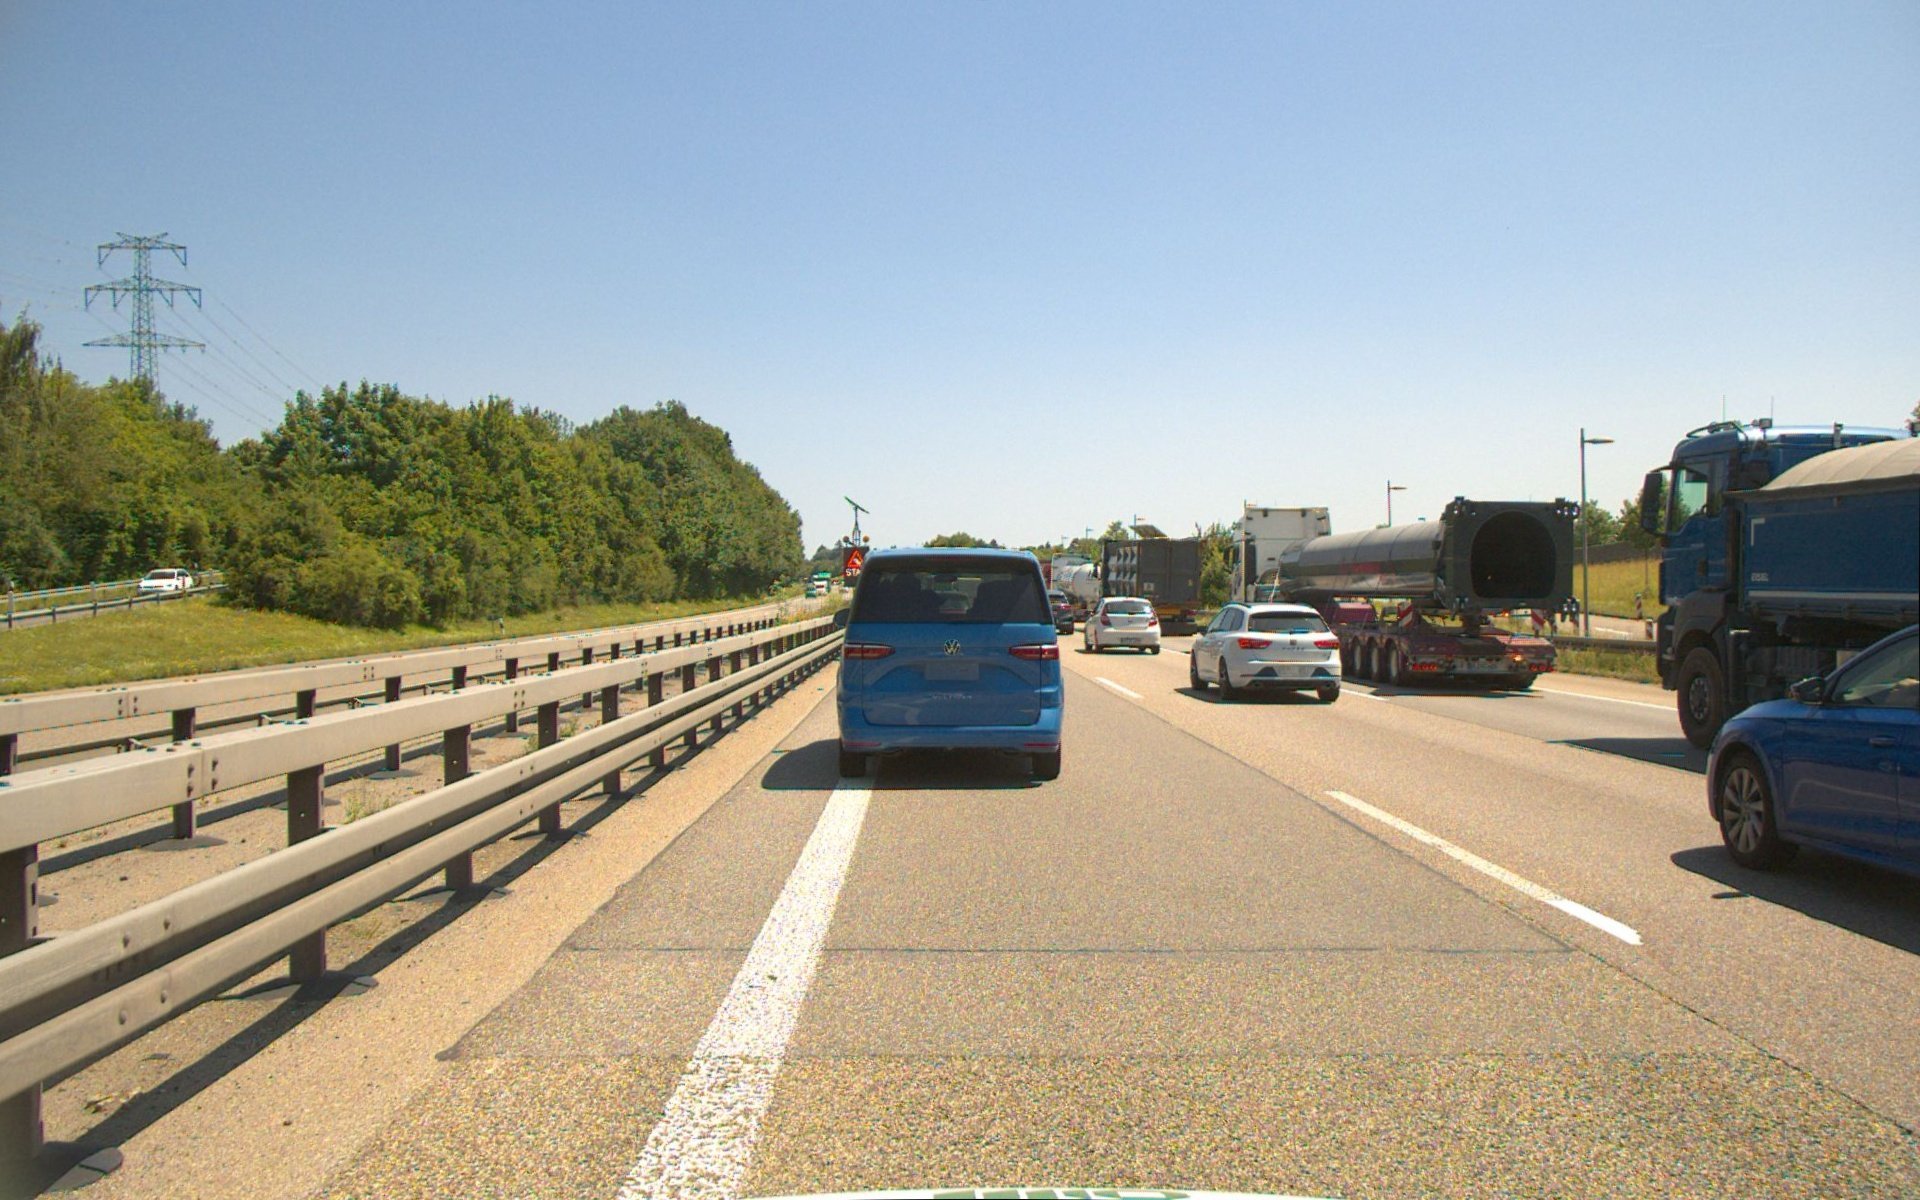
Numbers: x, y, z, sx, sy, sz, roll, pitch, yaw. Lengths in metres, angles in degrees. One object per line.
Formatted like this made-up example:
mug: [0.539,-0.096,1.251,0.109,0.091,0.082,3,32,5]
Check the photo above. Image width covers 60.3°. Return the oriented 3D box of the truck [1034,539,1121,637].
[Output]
truck: [6.757,-0.563,97.960,3.548,5.304,15.683,1,-1,-1]

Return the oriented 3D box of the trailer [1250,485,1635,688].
trailer: [8.980,-0.126,33.944,3.571,3.133,15.773,1,-1,1]

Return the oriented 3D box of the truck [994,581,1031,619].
truck: [2.708,0.019,85.519,1.690,1.890,3.999,1,-1,-1]

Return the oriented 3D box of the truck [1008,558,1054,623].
truck: [5.747,-0.692,135.514,3.006,5.006,10.687,1,-1,-1]

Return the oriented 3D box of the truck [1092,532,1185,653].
truck: [8.069,-0.303,75.593,3.584,5.270,5.708,1,-1,0]

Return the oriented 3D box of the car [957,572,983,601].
car: [0.977,-1.323,166.559,2.499,2.765,5.619,1,-1,-1]

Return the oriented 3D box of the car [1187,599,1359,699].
car: [4.733,0.702,25.547,1.829,1.385,3.999,1,0,-1]

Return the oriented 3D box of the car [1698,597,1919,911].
car: [5.330,0.735,7.830,1.671,1.466,4.427,1,-1,0]

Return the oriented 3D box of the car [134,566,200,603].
car: [-39.225,-0.793,81.946,1.604,1.703,4.891,1,1,-9]

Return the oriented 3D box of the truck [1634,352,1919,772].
truck: [9.008,-0.303,15.097,2.688,3.369,7.131,1,0,-1]

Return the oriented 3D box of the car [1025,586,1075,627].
car: [3.522,0.258,65.343,1.744,1.551,3.999,1,-1,0]

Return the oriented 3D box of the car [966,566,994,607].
car: [2.670,-1.769,226.010,3.155,5.349,8.136,1,-1,-4]

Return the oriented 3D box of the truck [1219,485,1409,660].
truck: [9.132,-0.635,43.645,3.551,4.166,7.525,1,-1,1]

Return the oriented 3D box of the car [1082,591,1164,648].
car: [4.409,0.528,45.266,1.803,1.480,3.999,1,-1,0]

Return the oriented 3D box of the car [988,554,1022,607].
car: [4.729,-1.971,174.778,3.153,5.349,8.142,1,-1,-1]

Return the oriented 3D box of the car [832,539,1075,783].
car: [-0.035,0.497,14.872,1.862,1.870,4.000,1,-1,0]

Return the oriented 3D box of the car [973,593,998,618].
car: [2.144,0.496,138.263,1.953,2.049,3.999,1,-1,-1]

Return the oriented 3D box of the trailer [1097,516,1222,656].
trailer: [8.111,-0.459,69.129,3.572,5.226,13.074,1,-1,0]

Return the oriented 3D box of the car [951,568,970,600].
car: [0.109,-2.415,256.479,2.661,4.795,11.557,1,-1,-1]
